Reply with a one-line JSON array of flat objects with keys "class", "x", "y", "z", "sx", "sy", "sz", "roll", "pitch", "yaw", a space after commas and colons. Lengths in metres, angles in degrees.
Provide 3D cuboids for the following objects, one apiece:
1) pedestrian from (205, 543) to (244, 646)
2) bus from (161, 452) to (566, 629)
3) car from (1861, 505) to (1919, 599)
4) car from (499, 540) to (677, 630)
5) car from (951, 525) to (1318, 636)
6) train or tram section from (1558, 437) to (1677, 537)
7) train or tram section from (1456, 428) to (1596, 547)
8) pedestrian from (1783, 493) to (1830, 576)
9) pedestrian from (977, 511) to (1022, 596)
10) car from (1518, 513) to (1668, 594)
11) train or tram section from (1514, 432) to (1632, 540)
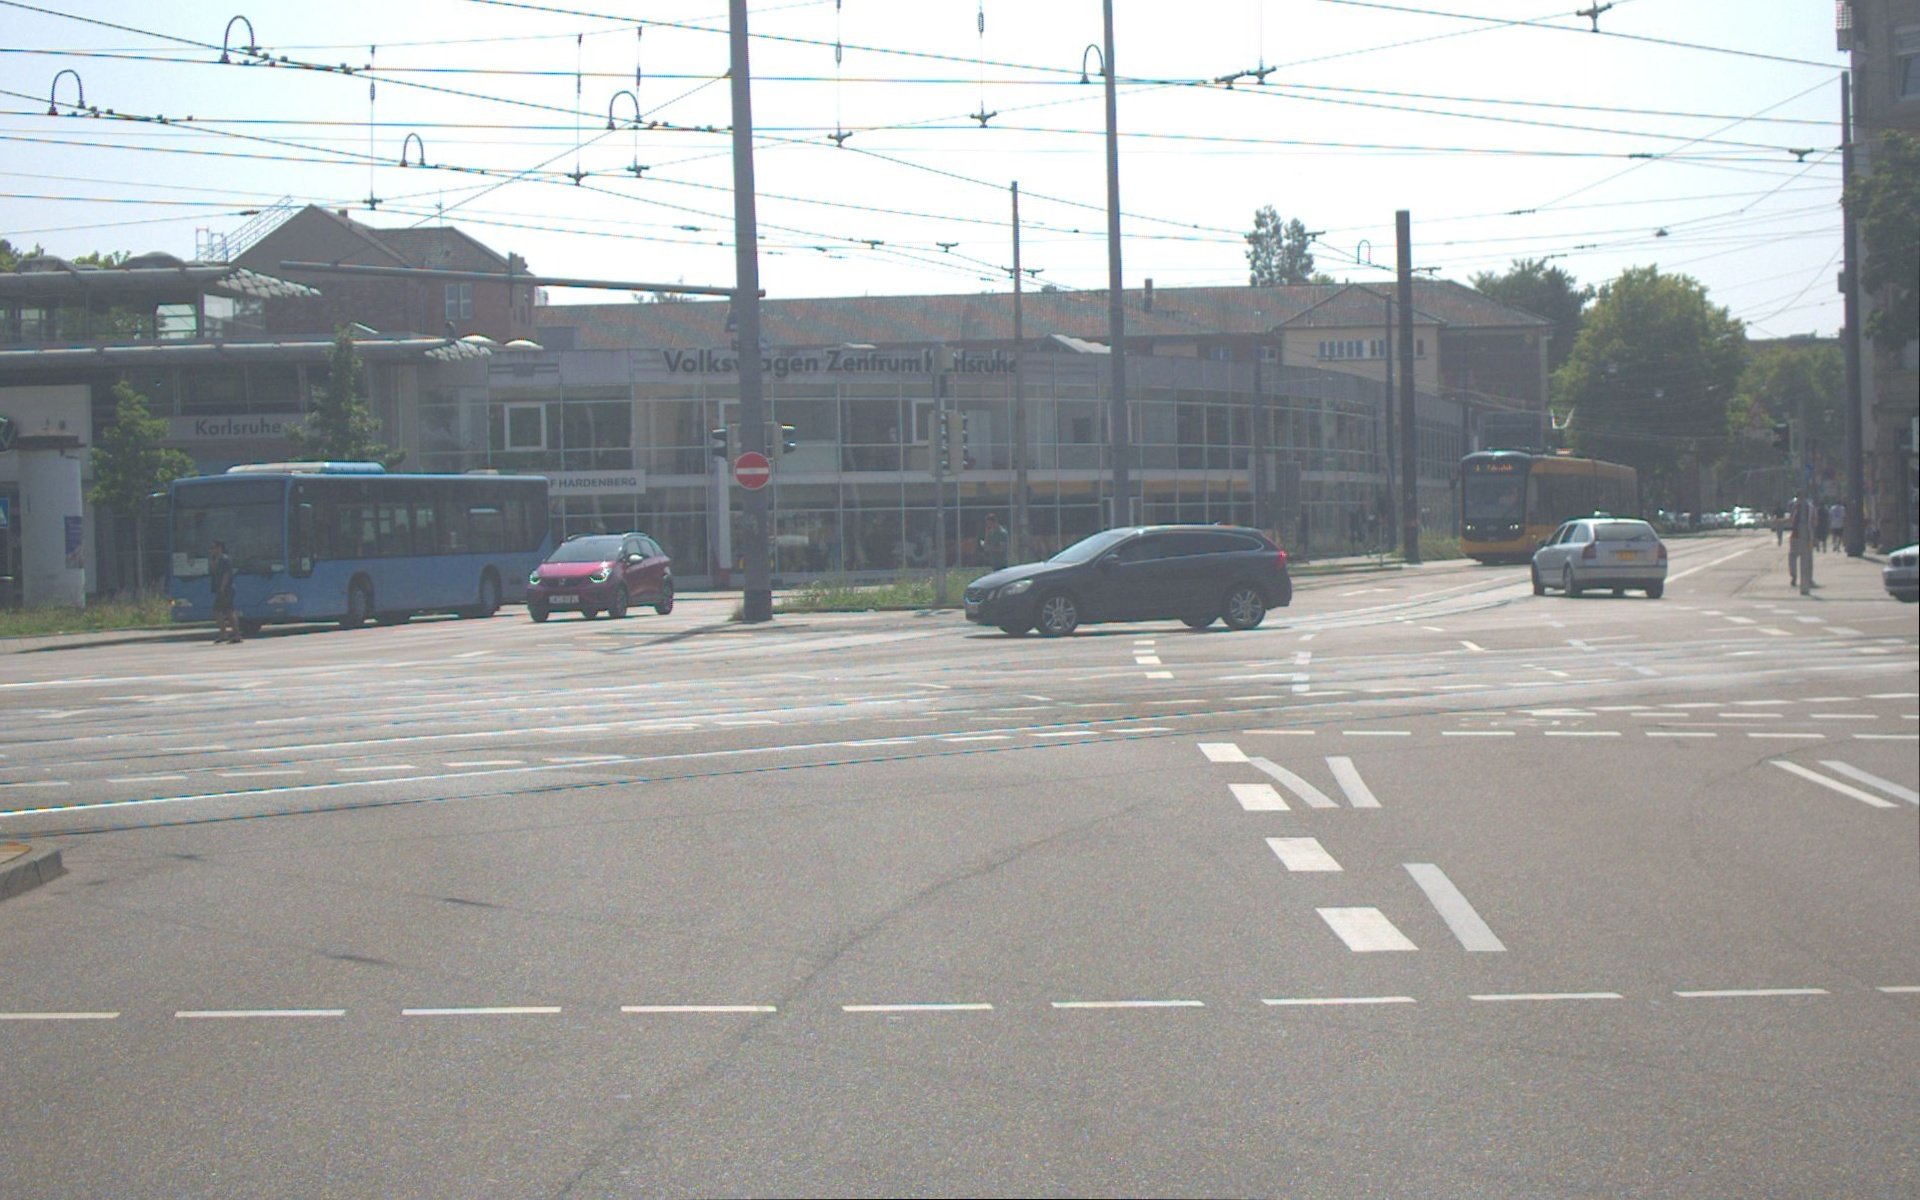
[{"class": "pedestrian", "x": -12.068, "y": -0.096, "z": 56.391, "sx": 0.552, "sy": 1.678, "sz": 0.454, "roll": -1, "pitch": 1, "yaw": -18}, {"class": "bus", "x": -11.248, "y": -1.186, "z": 66.607, "sx": 2.564, "sy": 3.072, "sz": 12.014, "roll": -1, "pitch": 1, "yaw": 17}, {"class": "car", "x": 16.165, "y": -0.787, "z": 52.871, "sx": 4.187, "sy": 1.411, "sz": 1.776, "roll": -2, "pitch": 1, "yaw": -21}, {"class": "car", "x": -6.816, "y": -0.301, "z": 63.345, "sx": 1.751, "sy": 1.546, "sz": 3.997, "roll": -1, "pitch": 1, "yaw": 18}, {"class": "car", "x": 2.423, "y": -0.294, "z": 47.815, "sx": 4.752, "sy": 1.411, "sz": 1.776, "roll": -2, "pitch": 1, "yaw": -19}, {"class": "train or tram section", "x": 24.628, "y": -4.162, "z": 128.228, "sx": 2.590, "sy": 3.504, "sz": 12.961, "roll": -1, "pitch": 1, "yaw": 19}, {"class": "train or tram section", "x": 17.865, "y": -3.496, "z": 107.922, "sx": 2.590, "sy": 3.504, "sz": 10.889, "roll": -1, "pitch": 1, "yaw": 19}, {"class": "pedestrian", "x": 16.436, "y": -1.269, "z": 66.783, "sx": 0.699, "sy": 1.597, "sz": 0.573, "roll": -1, "pitch": 1, "yaw": -8}, {"class": "pedestrian", "x": 0.682, "y": -0.801, "z": 59.324, "sx": 0.676, "sy": 1.438, "sz": 0.366, "roll": -1, "pitch": 1, "yaw": -17}, {"class": "car", "x": 11.657, "y": -0.876, "z": 63.585, "sx": 1.770, "sy": 1.411, "sz": 4.189, "roll": -1, "pitch": 1, "yaw": -3}, {"class": "train or tram section", "x": 21.040, "y": -3.853, "z": 117.635, "sx": 2.590, "sy": 3.504, "sz": 9.650, "roll": -1, "pitch": 1, "yaw": 18}]
